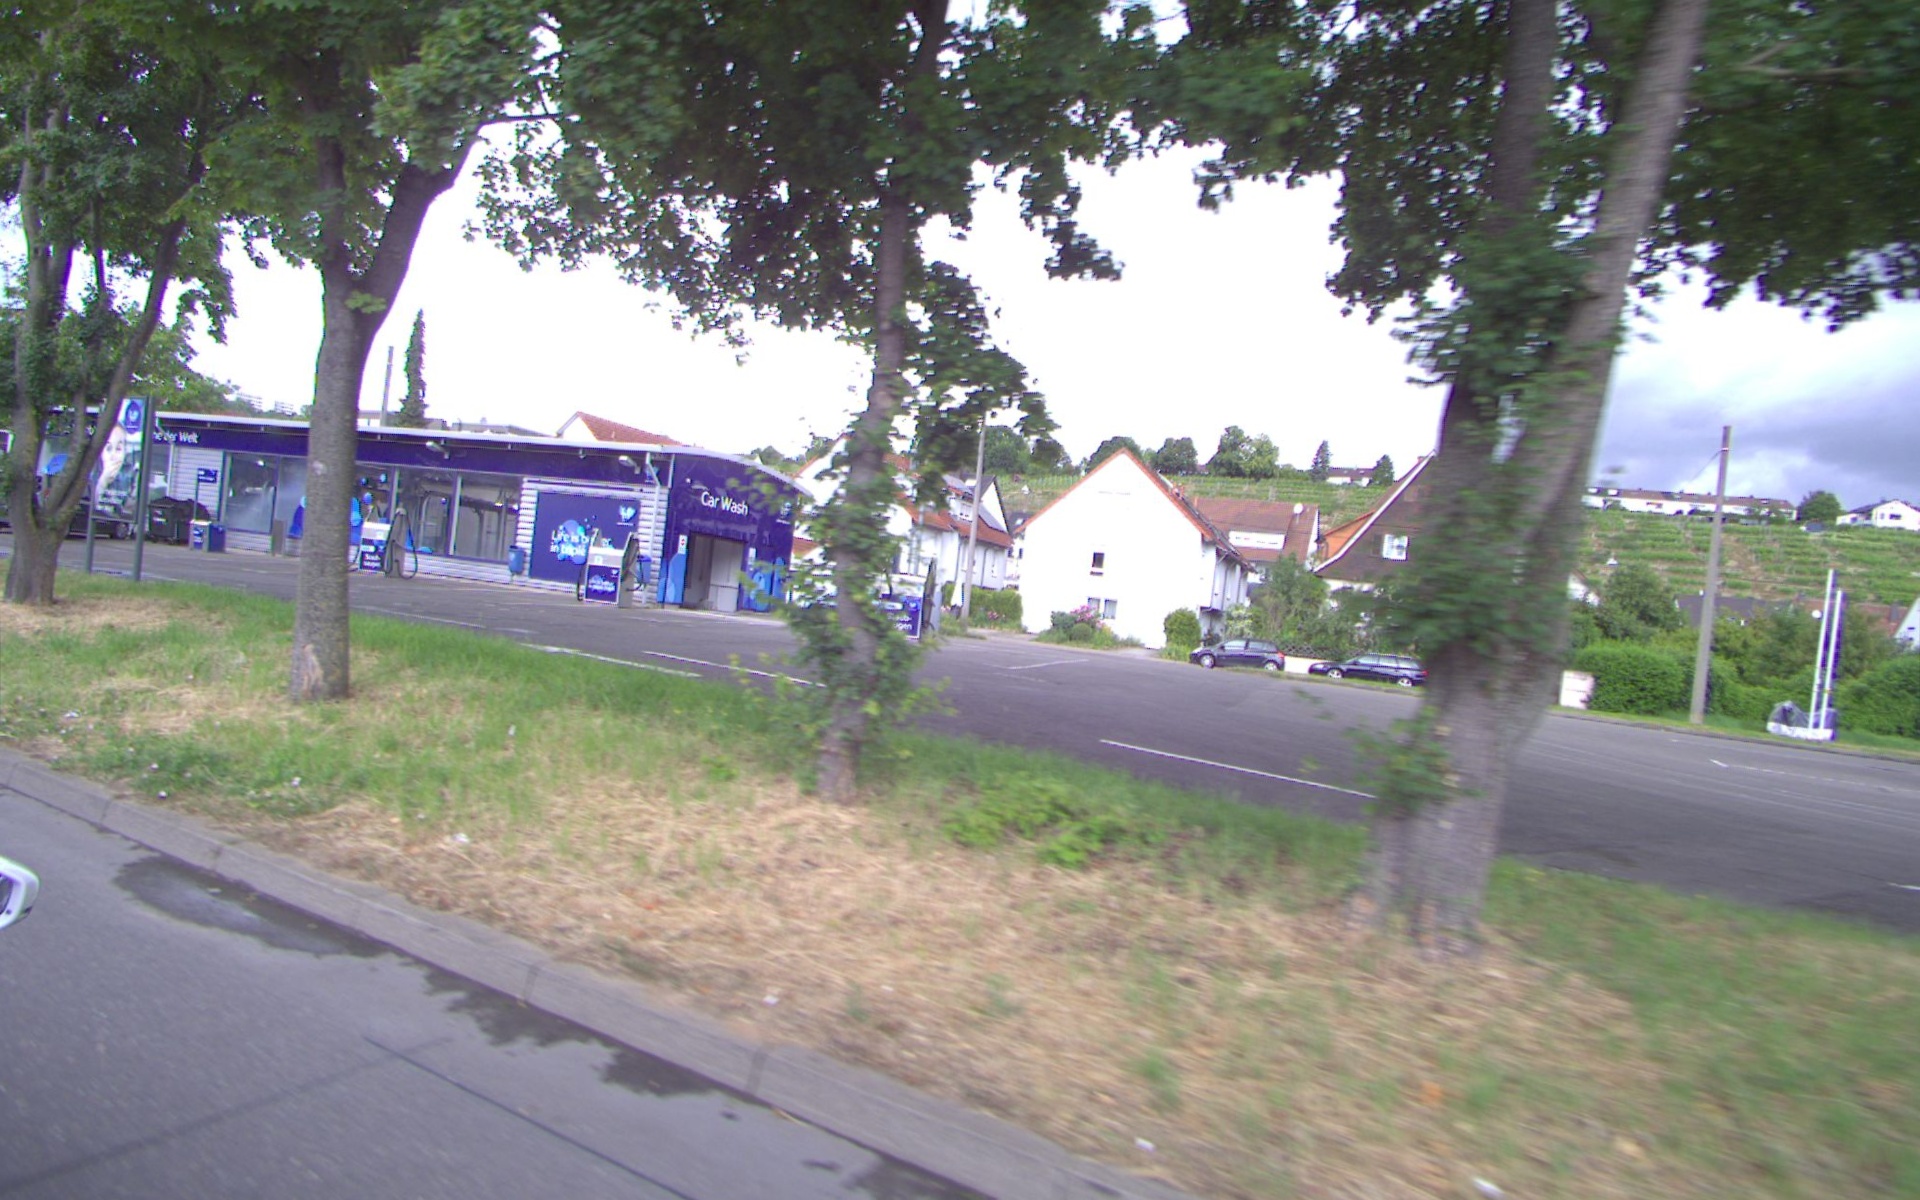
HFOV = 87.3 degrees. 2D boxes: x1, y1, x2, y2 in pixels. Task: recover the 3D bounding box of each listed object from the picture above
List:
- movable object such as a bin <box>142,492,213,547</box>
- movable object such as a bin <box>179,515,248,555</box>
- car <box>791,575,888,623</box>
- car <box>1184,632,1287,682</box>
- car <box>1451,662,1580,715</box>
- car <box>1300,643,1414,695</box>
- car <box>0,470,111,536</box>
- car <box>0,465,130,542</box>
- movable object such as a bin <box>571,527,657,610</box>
[{"bbox_3d":[-24.612,-2.515,31.664,1.362,1.493,1.161,7,1,23],"label":"movable object such as a bin"},{"bbox_3d":[-22.318,-1.928,30.098,1.167,0.988,1.161,7,1,23],"label":"movable object such as a bin"},{"bbox_3d":[-5.548,-0.043,46.399,3.924,1.593,1.789,7,-2,10],"label":"car"},{"bbox_3d":[11.489,2.391,42.061,3.924,1.481,2.003,7,-2,15],"label":"car"},{"bbox_3d":[21.760,3.457,39.558,3.924,1.481,2.003,7,-2,15],"label":"car"},{"bbox_3d":[16.021,2.800,40.810,3.924,1.481,2.003,7,-2,15],"label":"car"},{"bbox_3d":[-29.530,-3.142,31.523,1.805,1.718,4.213,7,1,9],"label":"car"},{"bbox_3d":[-26.331,-2.766,29.171,1.724,1.844,4.369,6,0,-15],"label":"car"},{"bbox_3d":[-8.500,-0.766,24.731,1.429,1.842,1.161,7,1,23],"label":"movable object such as a bin"}]
